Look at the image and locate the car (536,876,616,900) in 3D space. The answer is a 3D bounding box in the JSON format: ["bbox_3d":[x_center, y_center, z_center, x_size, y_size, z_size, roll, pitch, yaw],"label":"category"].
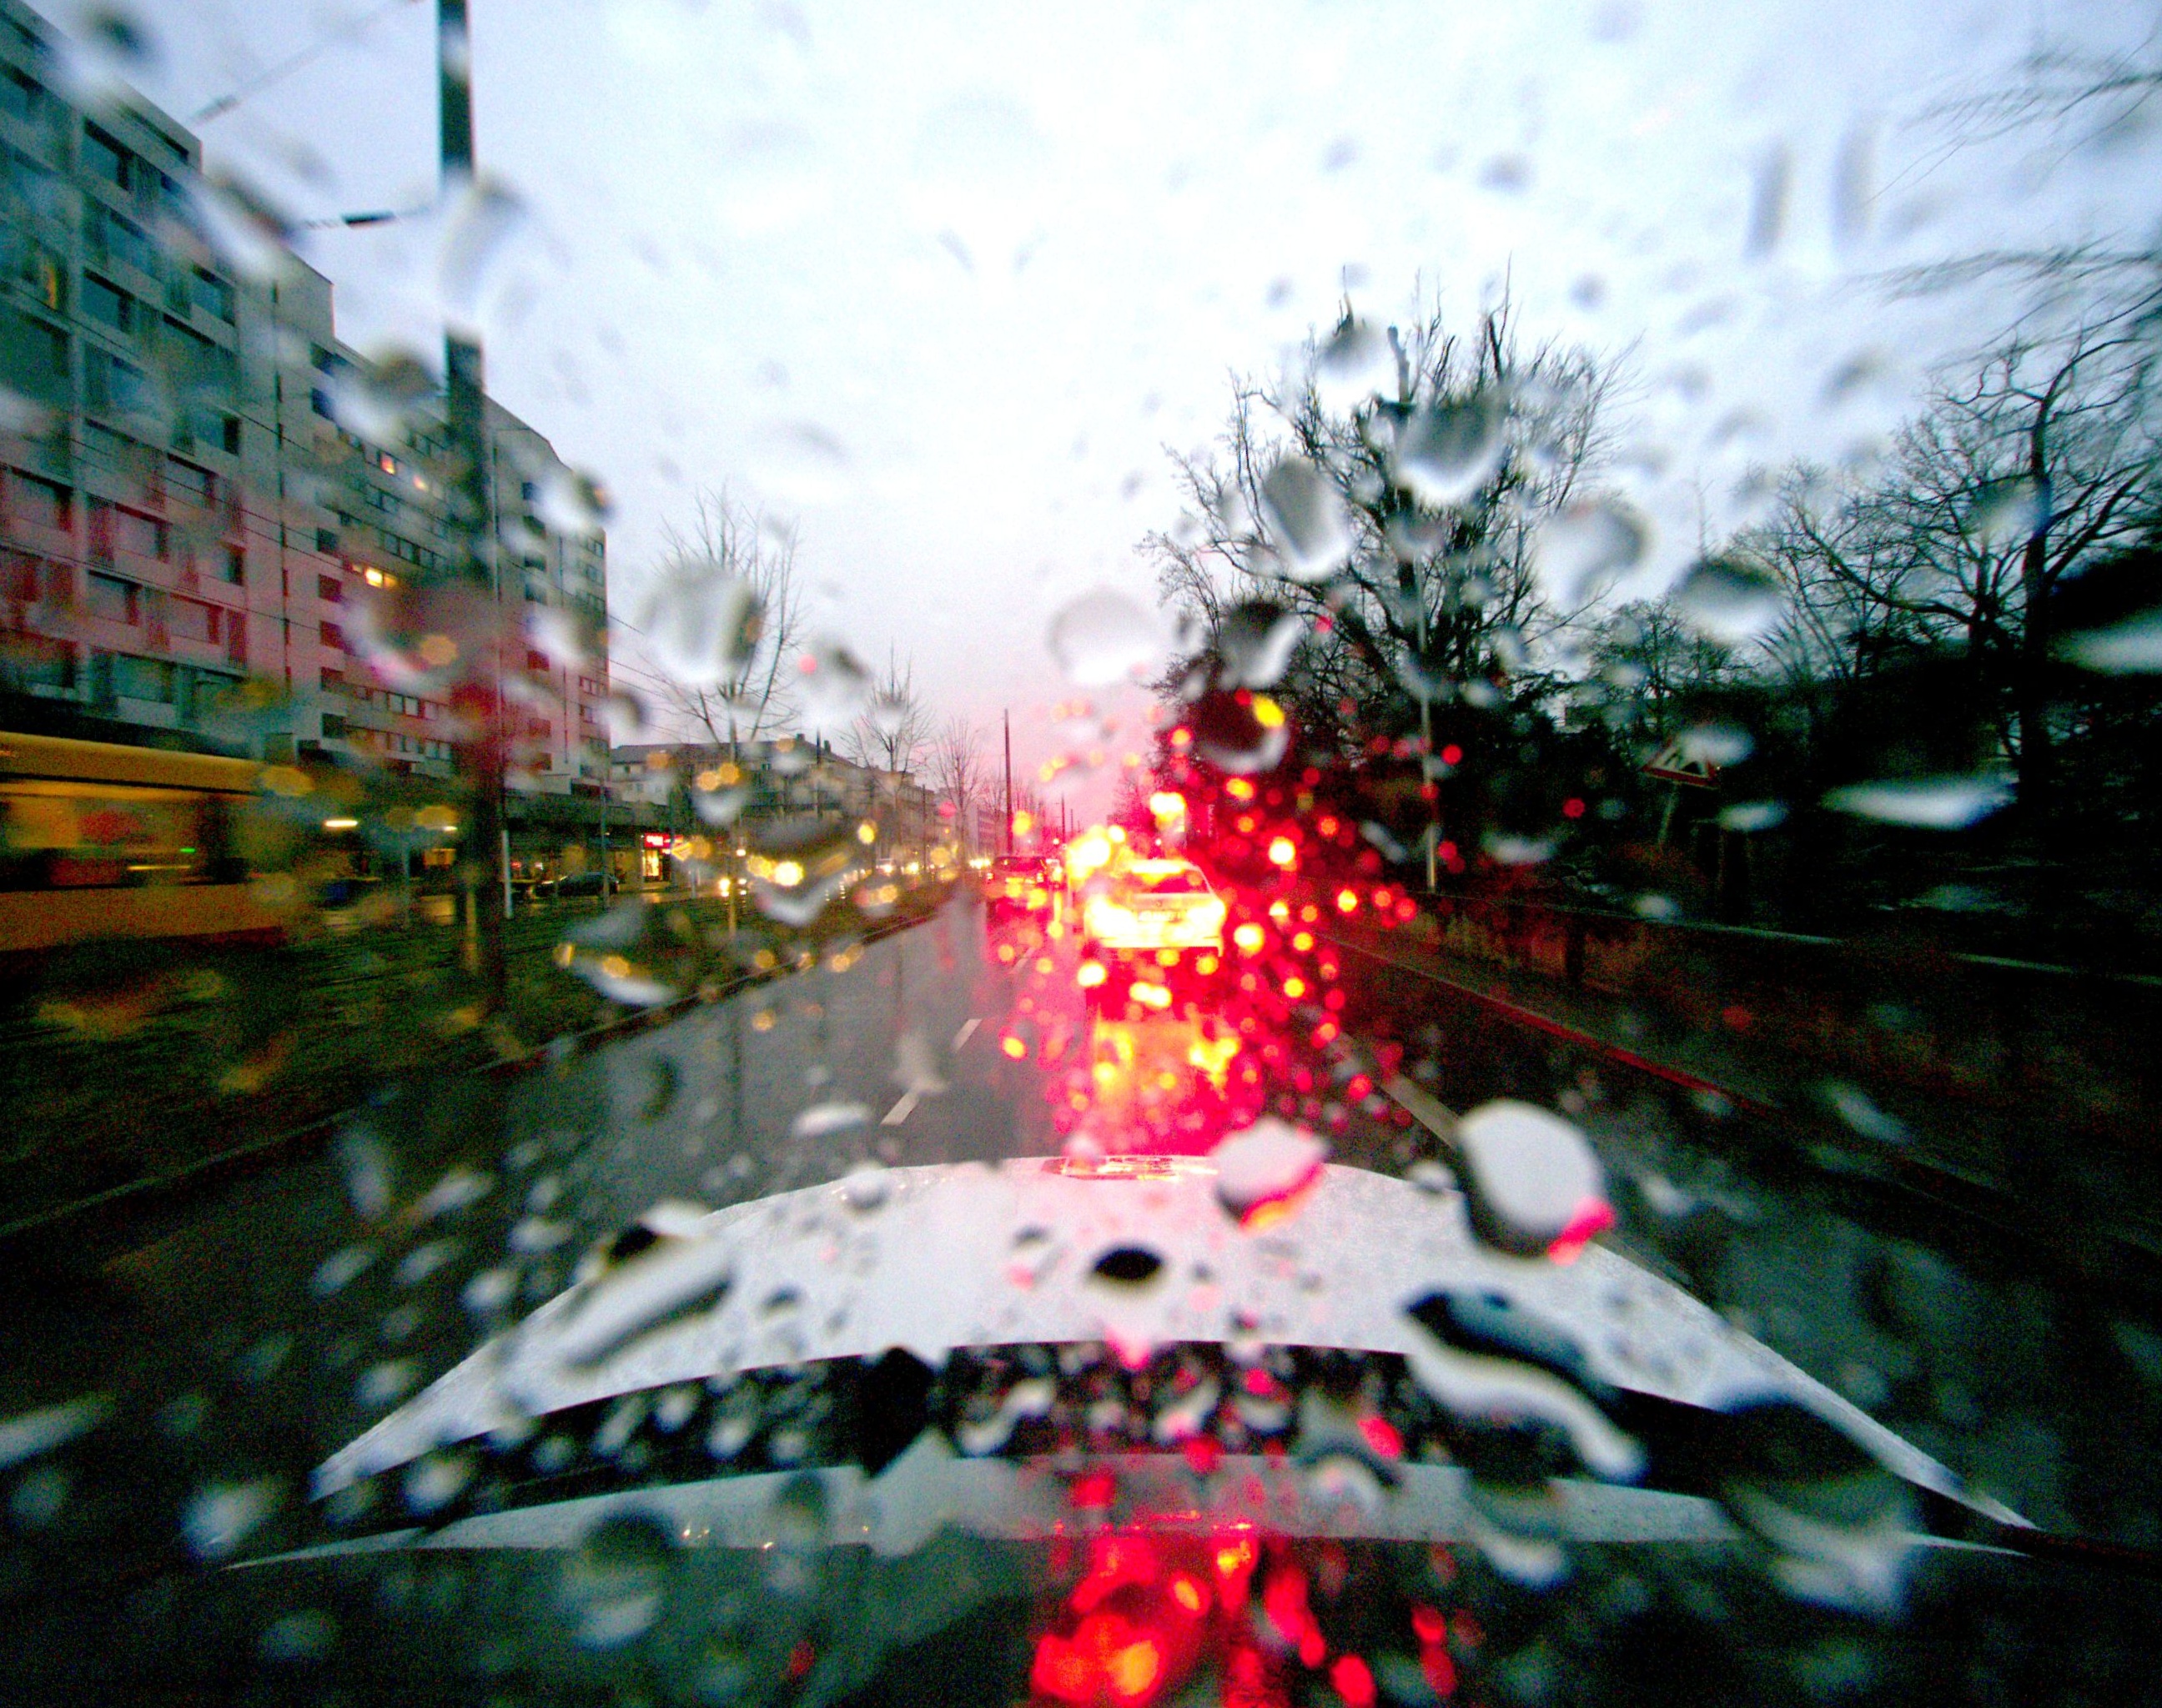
[{"bbox_3d":[-30.405,2.028,49.117,4.015,1.387,1.917,1,-1,-33],"label":"car"}]

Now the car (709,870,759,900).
[{"bbox_3d":[-24.504,2.155,57.666,1.717,1.885,3.926,-2,0,1],"label":"car"}]

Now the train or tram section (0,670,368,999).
[{"bbox_3d":[-13.062,-0.165,5.717,2.945,3.487,14.275,-2,0,3],"label":"train or tram section"}]

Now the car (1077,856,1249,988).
[{"bbox_3d":[1.044,0.808,11.642,1.991,1.508,4.165,-1,0,2],"label":"car"}]

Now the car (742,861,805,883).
[{"bbox_3d":[-29.290,1.725,77.747,5.193,1.912,1.975,-2,0,-43],"label":"car"}]

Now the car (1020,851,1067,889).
[{"bbox_3d":[-1.762,0.755,39.417,1.986,1.755,4.001,0,0,1],"label":"car"}]

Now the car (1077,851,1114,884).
[{"bbox_3d":[0.809,0.667,42.751,1.799,1.646,4.002,-1,0,2],"label":"car"}]

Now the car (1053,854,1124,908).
[{"bbox_3d":[0.284,0.739,24.354,1.928,1.457,4.165,-1,0,2],"label":"car"}]

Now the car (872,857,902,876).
[{"bbox_3d":[-19.710,1.251,82.840,1.890,1.719,5.115,-2,0,-1],"label":"car"}]

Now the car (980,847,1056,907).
[{"bbox_3d":[-1.797,0.634,24.519,1.799,1.646,4.002,-1,0,2],"label":"car"}]

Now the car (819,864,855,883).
[{"bbox_3d":[-20.035,1.547,67.050,1.891,1.431,3.704,-2,0,-2],"label":"car"}]

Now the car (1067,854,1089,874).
[{"bbox_3d":[-0.241,0.870,72.340,1.799,1.646,4.002,-1,0,2],"label":"car"}]
